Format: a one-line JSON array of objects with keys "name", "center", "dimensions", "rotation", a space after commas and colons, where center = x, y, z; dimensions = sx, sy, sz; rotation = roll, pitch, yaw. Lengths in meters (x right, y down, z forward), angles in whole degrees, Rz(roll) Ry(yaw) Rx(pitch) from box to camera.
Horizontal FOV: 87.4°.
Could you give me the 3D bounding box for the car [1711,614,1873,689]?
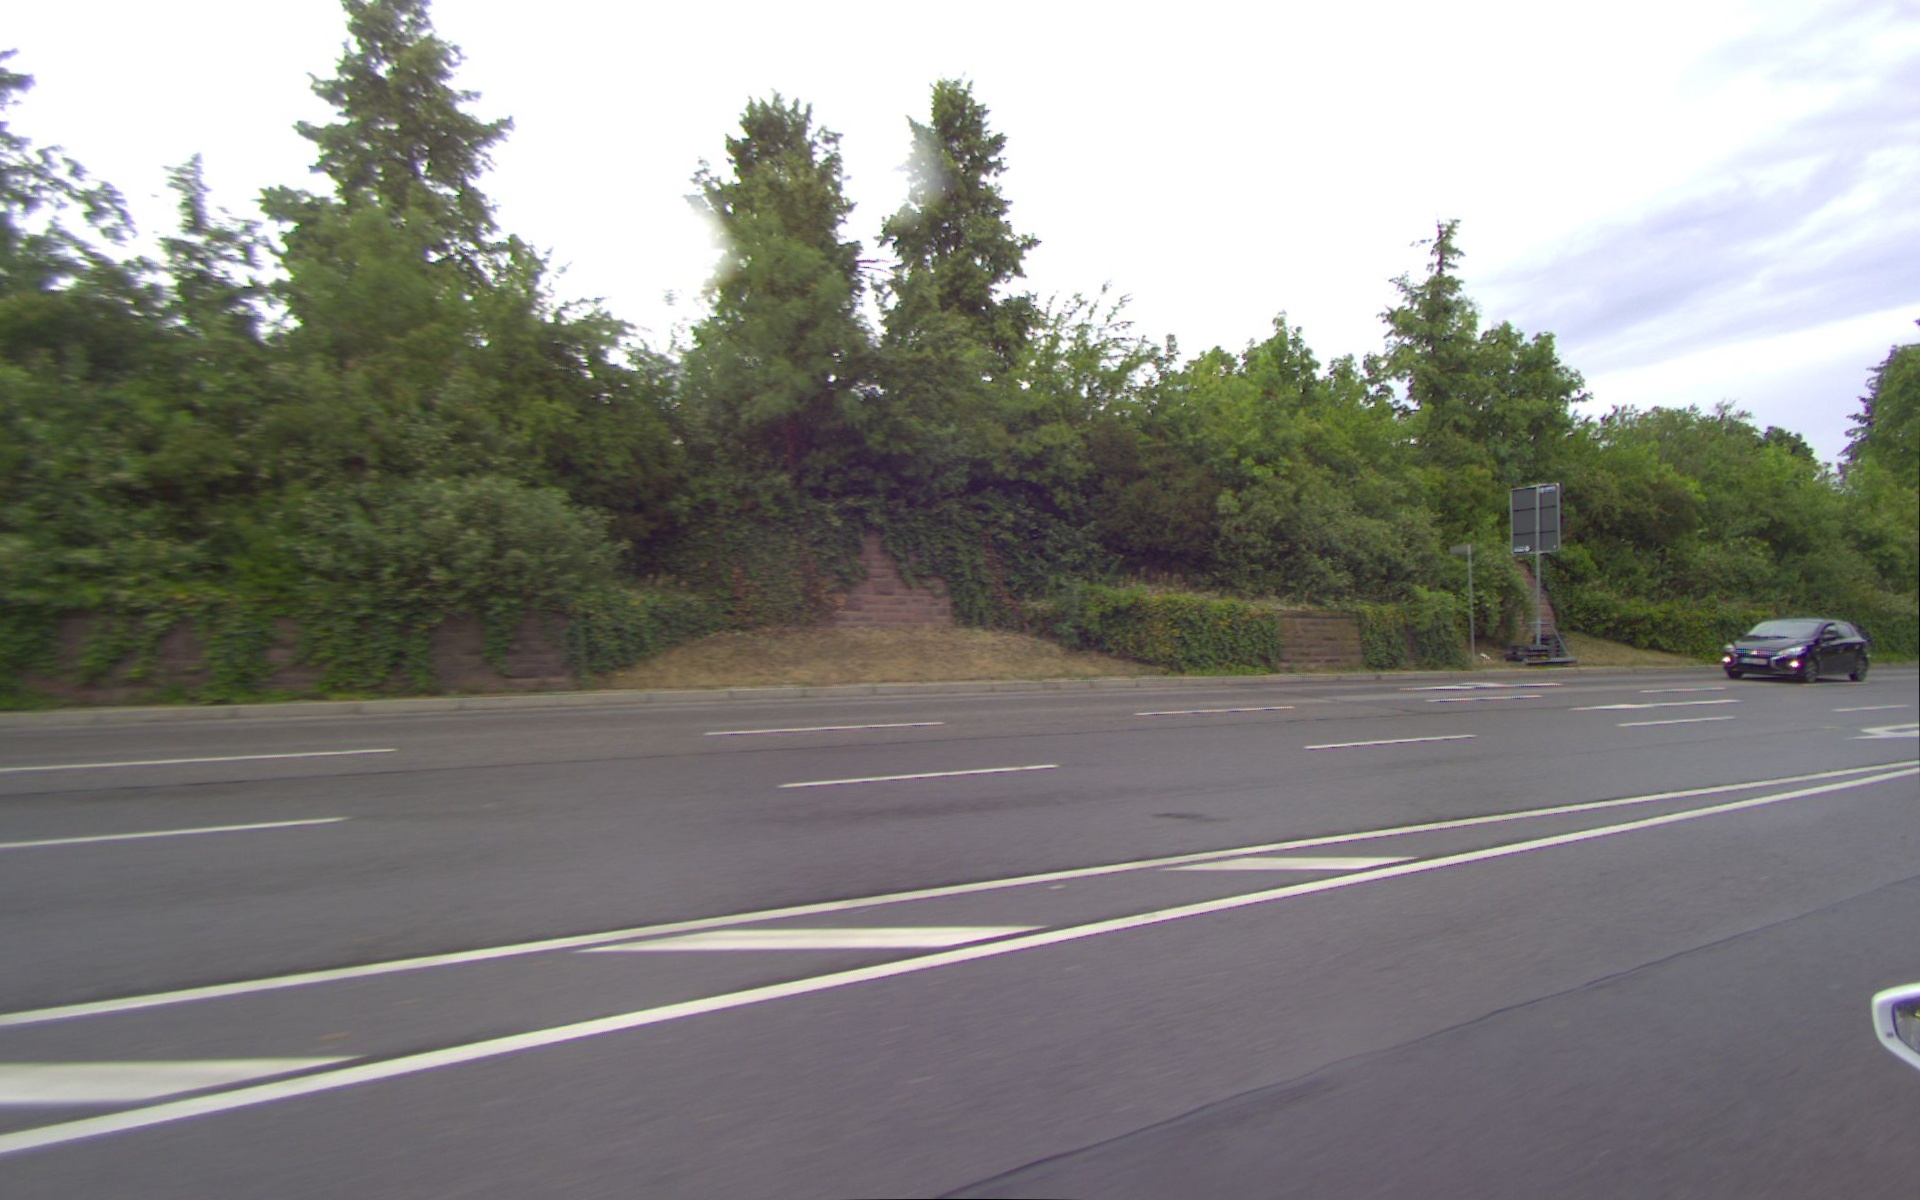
[{"name": "car", "center": [19.772, 1.154, 23.852], "dimensions": [3.846, 1.586, 1.716], "rotation": [0, 1, -30]}]
